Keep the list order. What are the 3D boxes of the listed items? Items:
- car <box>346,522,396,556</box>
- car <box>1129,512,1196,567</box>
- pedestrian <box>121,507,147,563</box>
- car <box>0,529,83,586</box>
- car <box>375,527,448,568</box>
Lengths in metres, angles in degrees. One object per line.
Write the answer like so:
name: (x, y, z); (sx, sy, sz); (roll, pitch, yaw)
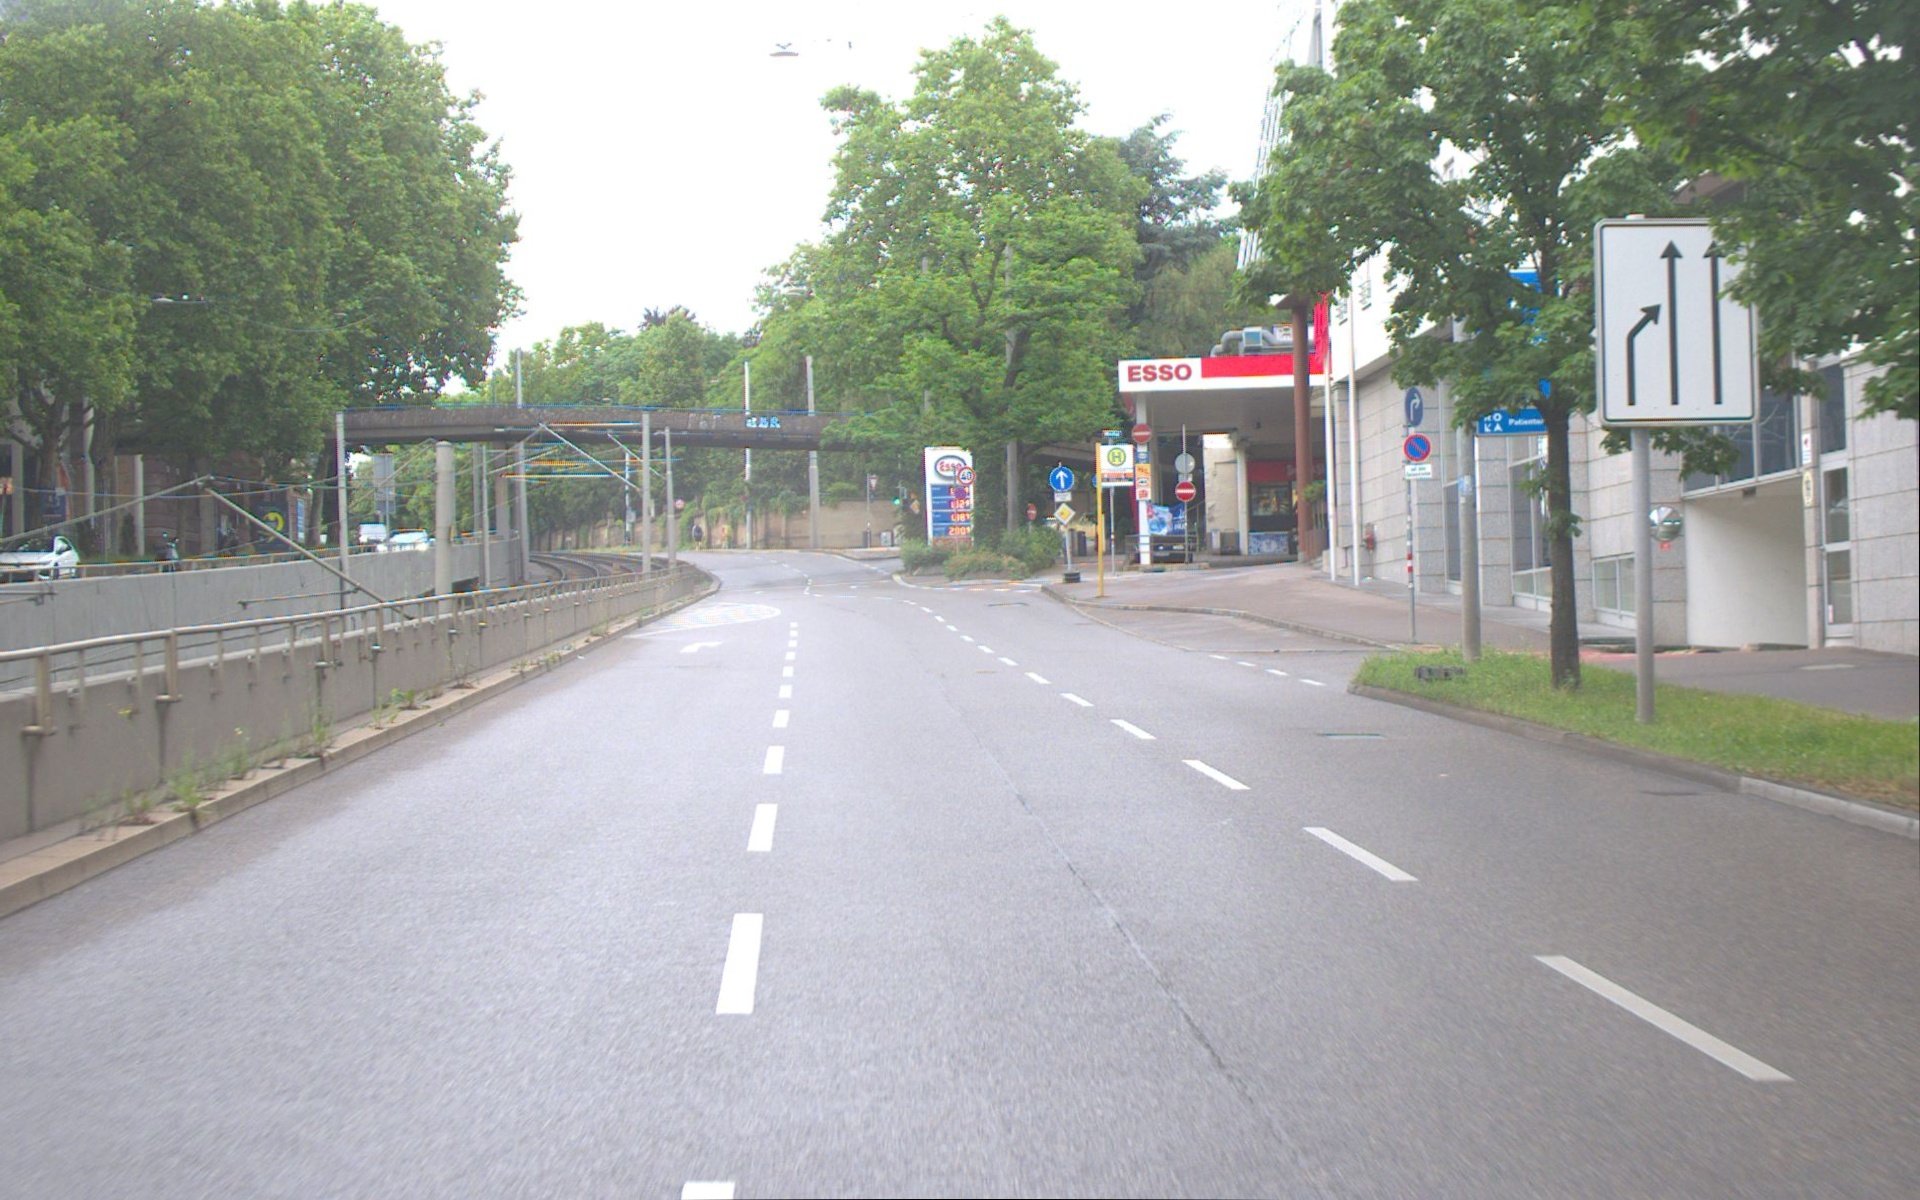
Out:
car: (-32.779, -3.394, 191.406); (1.956, 1.846, 4.968); (0, 1, 0)
car: (6.387, -1.892, 108.152); (1.773, 1.618, 3.865); (-3, 1, 7)
pedestrian: (-29.478, -2.315, 122.751); (0.669, 2.007, 0.935); (1, 0, 1)
car: (-27.014, -1.261, 100.458); (1.794, 1.606, 4.112); (0, 1, -1)
car: (-20.579, -1.991, 129.183); (2.026, 1.505, 4.883); (0, 1, -1)
